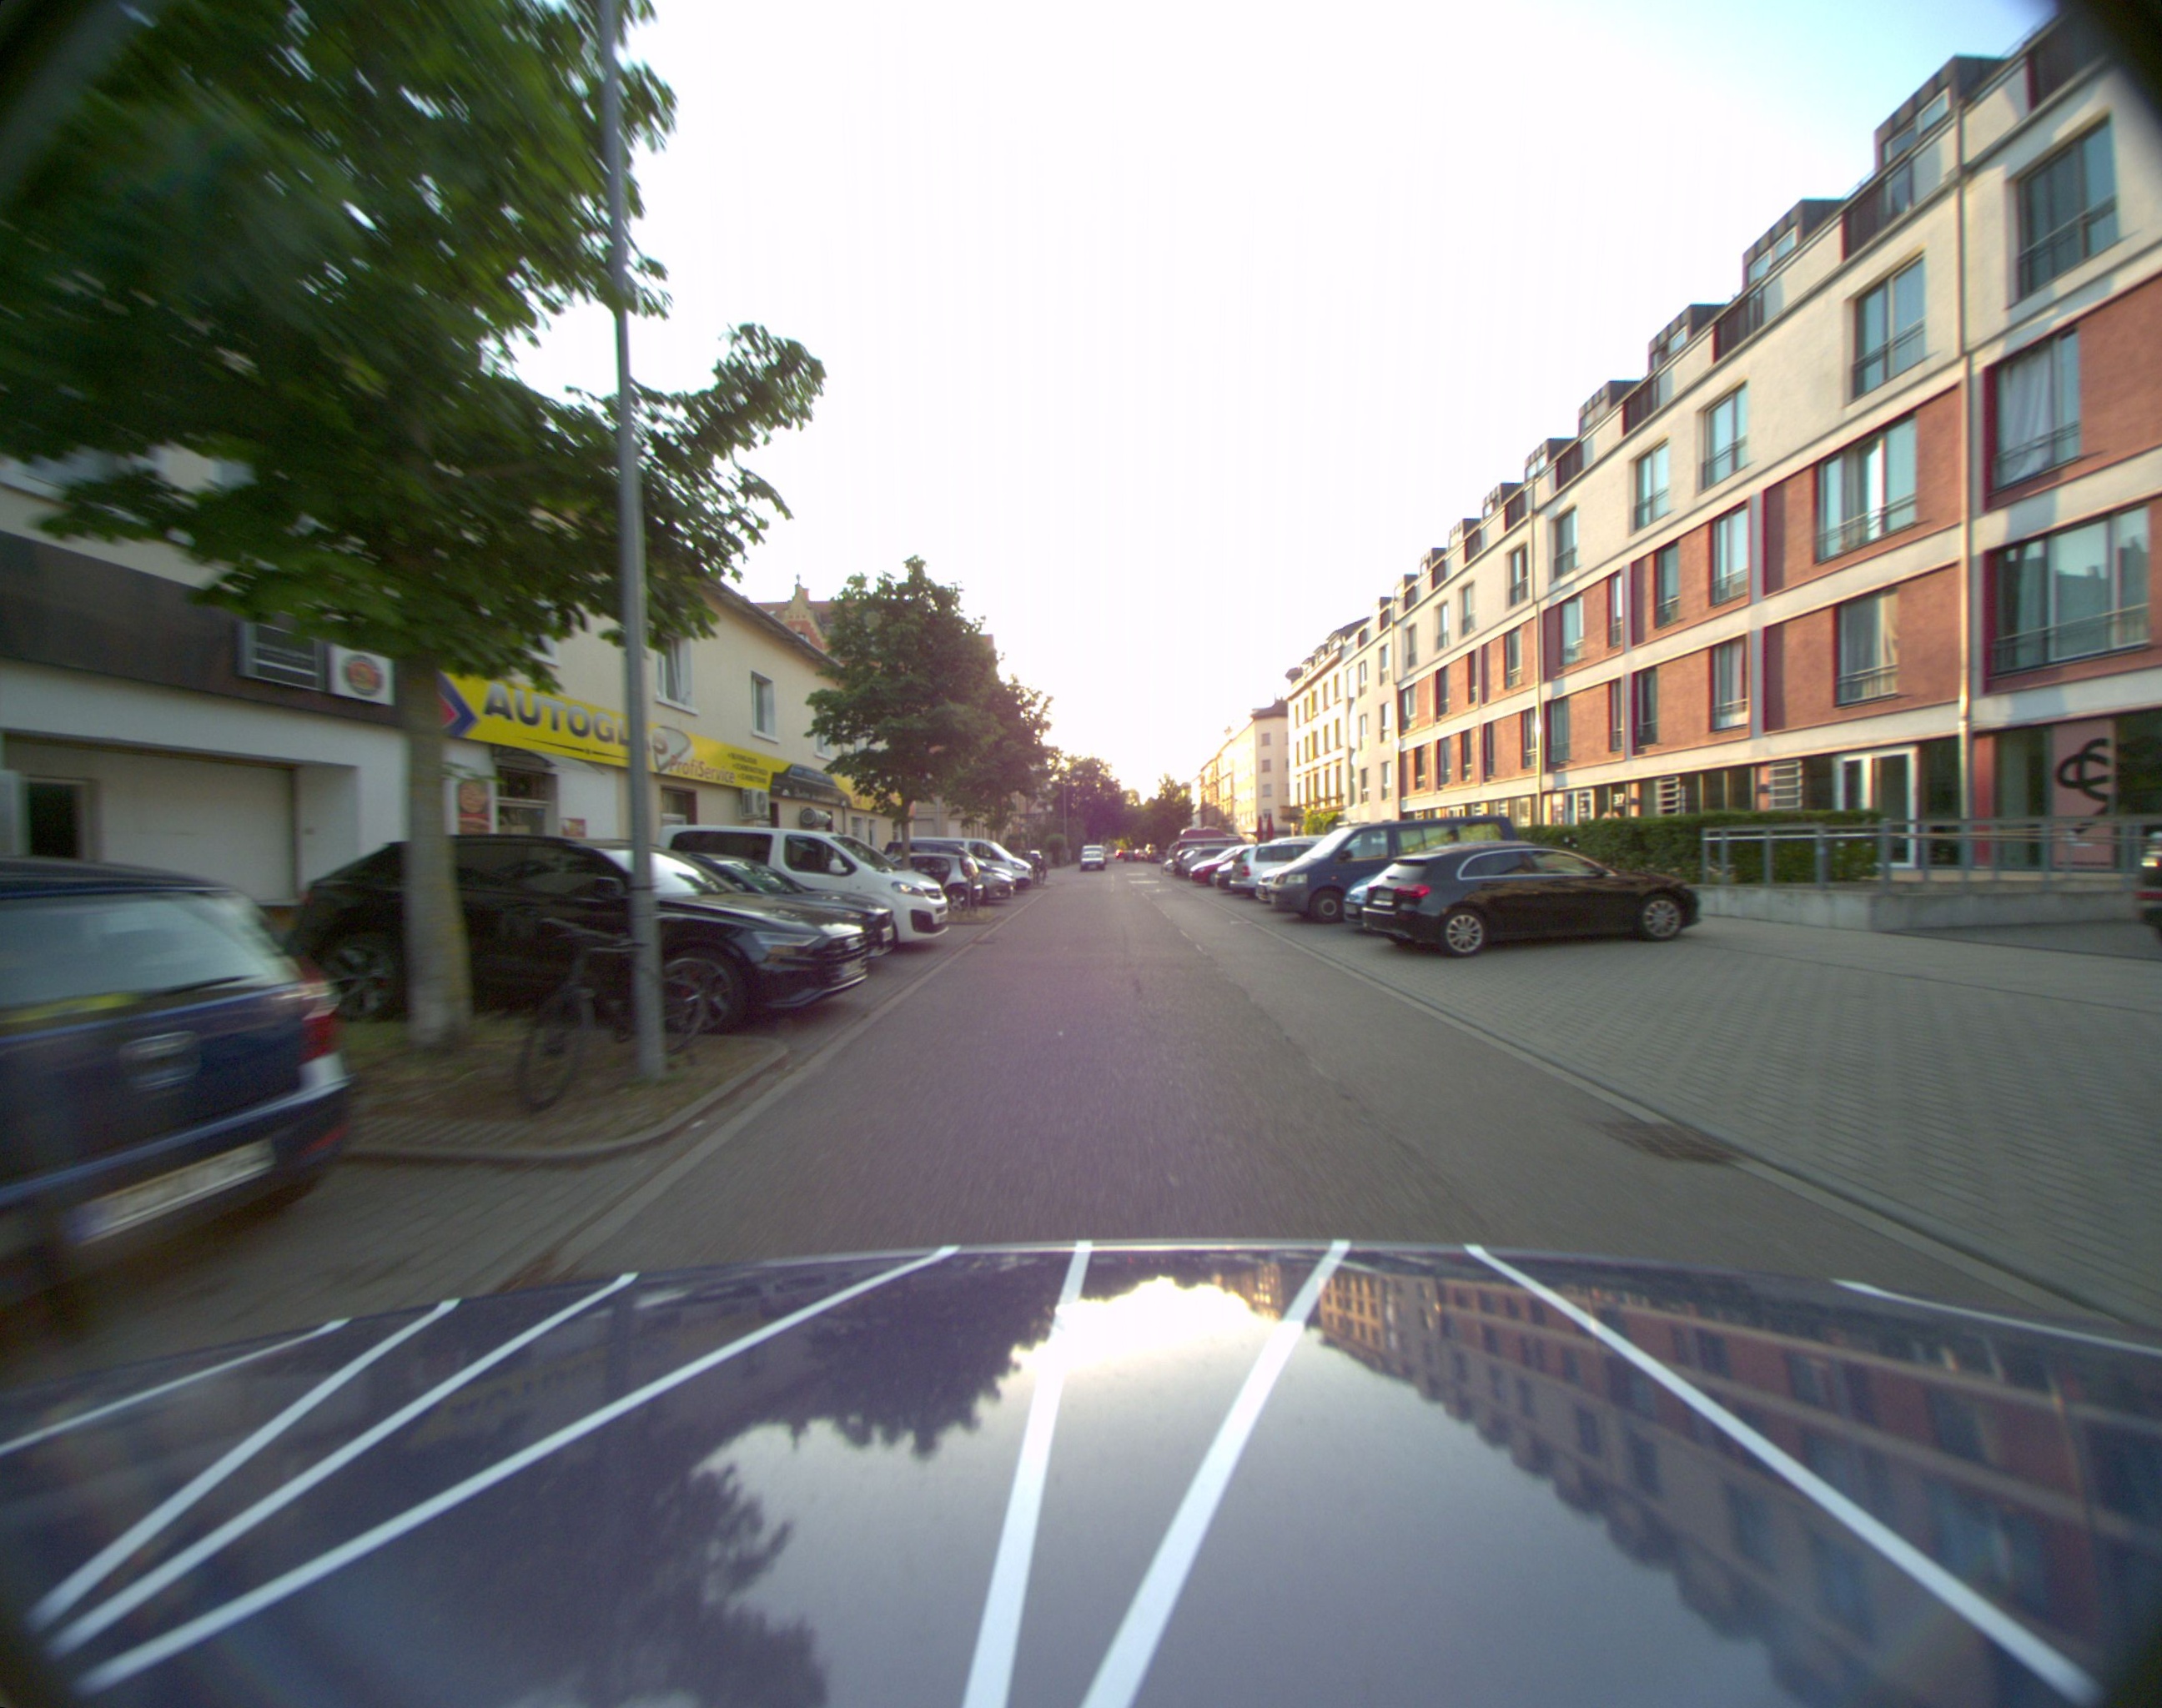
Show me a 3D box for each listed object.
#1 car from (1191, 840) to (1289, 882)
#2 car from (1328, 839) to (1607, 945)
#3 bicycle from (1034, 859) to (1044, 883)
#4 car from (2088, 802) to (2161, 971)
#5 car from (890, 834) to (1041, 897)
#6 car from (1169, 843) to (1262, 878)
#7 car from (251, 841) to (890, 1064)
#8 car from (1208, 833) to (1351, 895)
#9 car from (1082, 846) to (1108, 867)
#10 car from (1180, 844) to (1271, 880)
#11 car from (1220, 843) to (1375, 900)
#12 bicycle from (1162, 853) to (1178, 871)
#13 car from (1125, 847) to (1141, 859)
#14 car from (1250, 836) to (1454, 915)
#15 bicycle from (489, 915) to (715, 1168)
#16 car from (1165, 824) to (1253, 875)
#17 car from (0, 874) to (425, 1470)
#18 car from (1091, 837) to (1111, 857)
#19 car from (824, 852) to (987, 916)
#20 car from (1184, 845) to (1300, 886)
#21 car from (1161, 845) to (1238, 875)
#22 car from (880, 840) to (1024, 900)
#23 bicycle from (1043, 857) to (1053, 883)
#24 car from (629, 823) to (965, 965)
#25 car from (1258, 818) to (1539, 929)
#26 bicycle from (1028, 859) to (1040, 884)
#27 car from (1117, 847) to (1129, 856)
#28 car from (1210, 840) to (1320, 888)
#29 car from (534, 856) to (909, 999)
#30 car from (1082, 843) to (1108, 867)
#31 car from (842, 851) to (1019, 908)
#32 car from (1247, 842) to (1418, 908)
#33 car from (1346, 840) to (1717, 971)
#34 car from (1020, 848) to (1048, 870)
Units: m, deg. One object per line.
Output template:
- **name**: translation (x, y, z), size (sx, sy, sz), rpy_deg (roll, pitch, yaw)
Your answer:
- **car**: translation (6.821, 0.298, 32.932), size (3.895, 1.608, 1.700), rpy_deg (-2, 1, 4)
- **car**: translation (6.460, 0.592, 12.981), size (3.894, 1.484, 1.653), rpy_deg (-3, 1, -2)
- **bicycle**: translation (-1.898, 0.768, 34.500), size (0.357, 1.018, 1.971), rpy_deg (-2, 1, 0)
- **car**: translation (12.446, 0.254, 6.986), size (3.999, 1.624, 1.999), rpy_deg (-2, 0, -5)
- **car**: translation (-4.111, 0.387, 27.660), size (4.971, 2.089, 2.151), rpy_deg (-2, 2, 5)
- **car**: translation (6.666, 0.296, 37.966), size (4.347, 1.516, 1.705), rpy_deg (-2, 1, 1)
- **car**: translation (-4.462, 0.787, 7.200), size (4.706, 1.622, 2.000), rpy_deg (2, 1, 2)
- **car**: translation (6.517, 0.306, 25.231), size (4.189, 1.885, 1.897), rpy_deg (-1, 1, -2)
- **car**: translation (1.000, 0.159, 56.012), size (1.732, 1.367, 3.762), rpy_deg (-2, 1, 0)
- **car**: translation (6.704, 0.356, 35.613), size (3.957, 1.531, 1.755), rpy_deg (-2, 1, 4)
- **car**: translation (6.444, 0.484, 22.856), size (3.999, 1.580, 2.052), rpy_deg (-1, 1, -7)
- **bicycle**: translation (5.546, 0.477, 47.434), size (0.805, 1.047, 2.415), rpy_deg (-4, 1, 3)
- **car**: translation (6.472, -0.175, 95.556), size (1.762, 1.478, 3.783), rpy_deg (0, 1, 0)
- **car**: translation (6.357, 0.479, 18.187), size (4.195, 1.713, 1.902), rpy_deg (-1, 1, 2)
- **bicycle**: translation (-2.985, 1.073, 4.946), size (0.309, 1.186, 1.762), rpy_deg (-2, 1, 0)
- **car**: translation (6.791, -0.238, 40.754), size (4.412, 2.542, 1.932), rpy_deg (-2, 1, 2)
- **car**: translation (-4.983, 0.869, 2.519), size (3.997, 1.537, 1.844), rpy_deg (2, 1, 0)
- **car**: translation (2.114, -0.764, 81.965), size (1.999, 2.002, 3.999), rpy_deg (-2, 1, 0)
- **car**: translation (-4.419, 0.729, 19.507), size (3.795, 1.488, 1.680), rpy_deg (1, 1, 0)
- **car**: translation (6.386, 0.441, 30.398), size (4.273, 1.485, 1.788), rpy_deg (-2, 1, 2)
- **car**: translation (6.713, 0.325, 43.202), size (3.989, 1.408, 1.803), rpy_deg (-3, 1, -5)
- **car**: translation (-4.179, 0.480, 25.045), size (4.301, 1.847, 2.000), rpy_deg (1, 1, 4)
- **bicycle**: translation (-1.489, 0.714, 34.519), size (0.357, 1.093, 1.971), rpy_deg (-2, 1, 0)
- **car**: translation (-4.408, 0.566, 12.313), size (4.598, 1.851, 2.012), rpy_deg (3, 1, 2)
- **car**: translation (6.251, 0.378, 15.463), size (4.865, 2.043, 2.000), rpy_deg (-1, 1, 4)
- **bicycle**: translation (-2.012, 0.733, 32.455), size (0.357, 1.018, 1.784), rpy_deg (-2, 1, 0)
- **car**: translation (7.398, -0.426, 133.825), size (1.890, 1.513, 4.000), rpy_deg (-1, 1, 2)
- **car**: translation (6.629, 0.336, 27.655), size (3.540, 1.554, 1.784), rpy_deg (-2, 1, 0)
- **car**: translation (-4.518, 0.871, 9.998), size (3.996, 1.487, 1.892), rpy_deg (2, 1, 2)
- **car**: translation (1.120, 0.049, 61.767), size (1.939, 1.893, 4.054), rpy_deg (-2, 1, 0)
- **car**: translation (-4.271, 0.705, 22.132), size (4.733, 1.487, 2.000), rpy_deg (1, 1, 0)
- **car**: translation (6.667, 0.533, 20.459), size (3.997, 1.608, 1.797), rpy_deg (-1, 1, 0)
- **car**: translation (6.104, 0.638, 10.604), size (4.150, 1.408, 1.738), rpy_deg (-4, 1, -3)
- **car**: translation (-3.438, 0.350, 56.411), size (1.800, 1.515, 3.999), rpy_deg (-2, 1, 0)
